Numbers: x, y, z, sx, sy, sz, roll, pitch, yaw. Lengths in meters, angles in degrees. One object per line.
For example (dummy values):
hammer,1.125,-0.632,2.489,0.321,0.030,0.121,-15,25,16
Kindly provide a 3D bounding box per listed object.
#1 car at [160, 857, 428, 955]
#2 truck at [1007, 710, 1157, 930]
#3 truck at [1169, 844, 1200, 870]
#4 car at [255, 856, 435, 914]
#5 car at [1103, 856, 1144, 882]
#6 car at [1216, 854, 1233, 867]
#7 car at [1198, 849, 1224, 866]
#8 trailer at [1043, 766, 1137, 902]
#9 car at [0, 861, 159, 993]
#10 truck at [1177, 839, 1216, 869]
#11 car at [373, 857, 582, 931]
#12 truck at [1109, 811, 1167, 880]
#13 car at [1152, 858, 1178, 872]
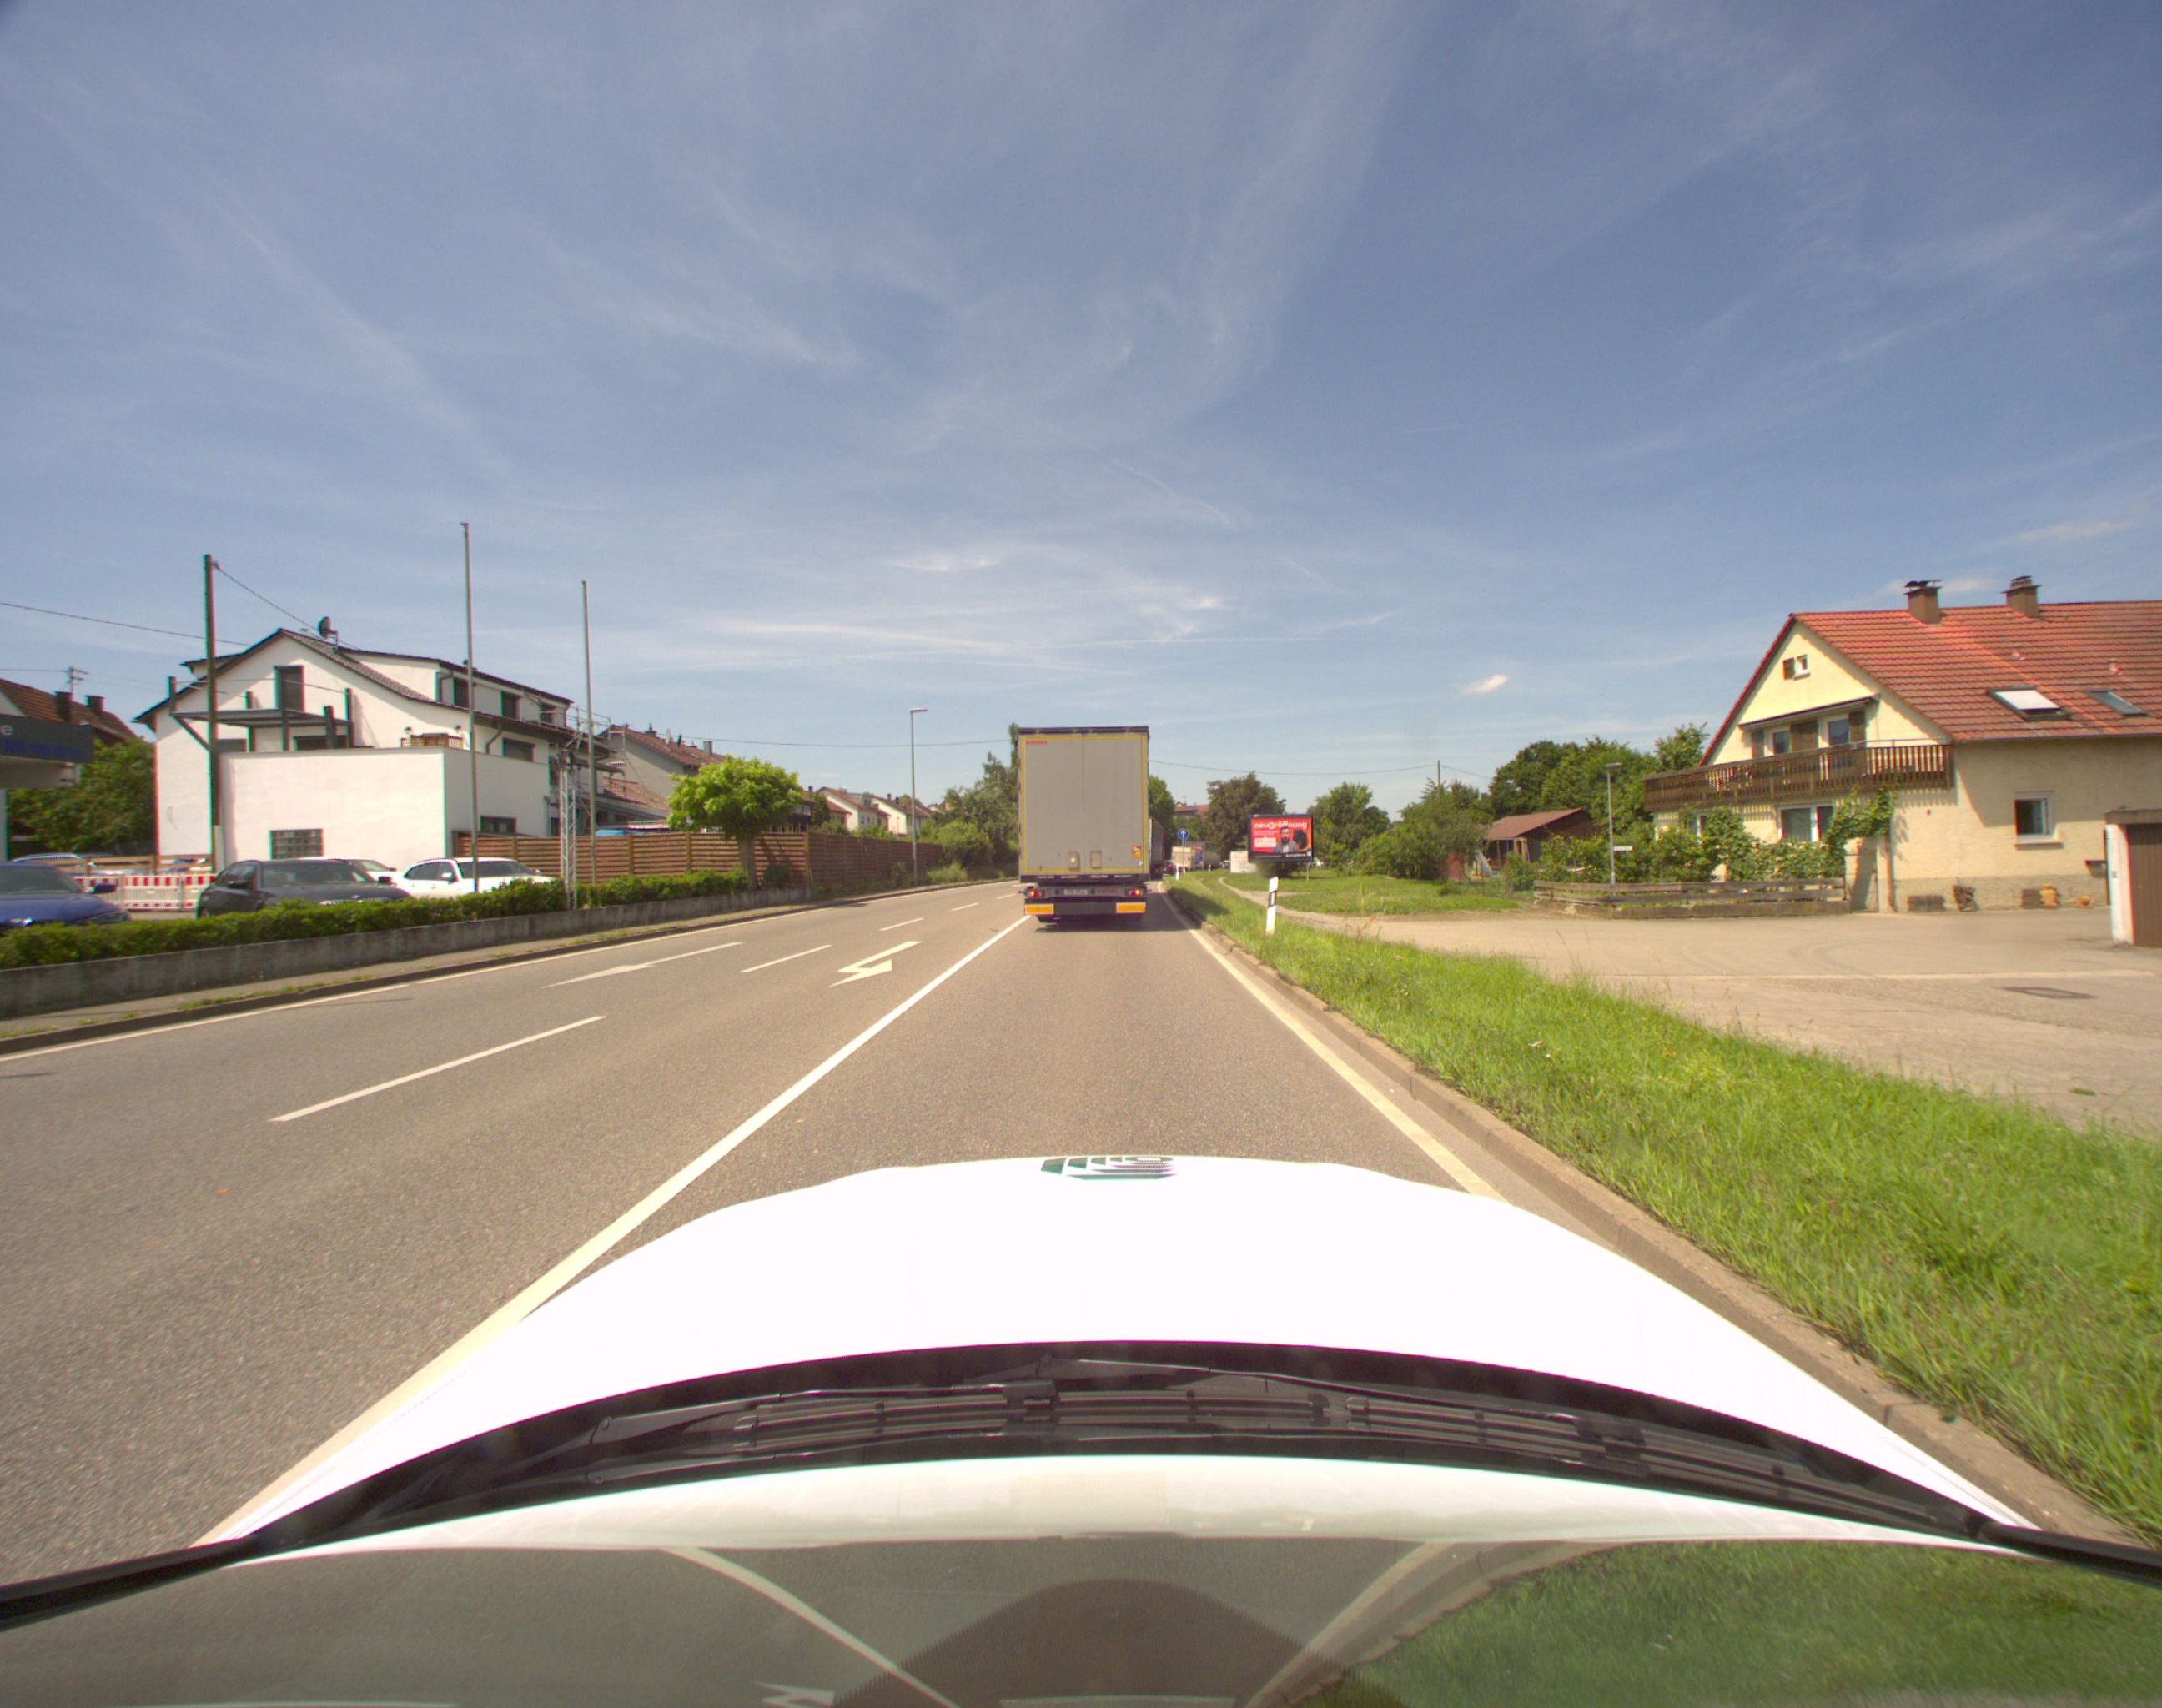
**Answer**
car,-13.363,0.795,13.818,4.288,1.447,1.910,0,-1,26
truck,0.175,-0.628,21.077,2.812,4.128,11.447,0,0,2
truck,11.637,0.362,91.384,2.524,2.803,6.058,0,-1,17
car,-20.539,0.820,22.768,3.958,1.510,1.842,0,0,15
car,2.382,0.826,44.669,1.807,1.346,3.858,0,-1,10
car,21.905,1.019,124.258,1.978,2.014,4.018,0,-1,18
car,17.953,0.492,112.319,2.511,2.277,6.410,0,0,18
trailer,0.423,-0.617,28.038,2.814,4.111,6.548,-1,0,3
car,-13.729,0.815,10.081,4.289,1.447,1.867,0,-1,25
truck,14.722,-0.031,103.137,3.406,3.604,9.396,0,0,17
car,-13.082,0.809,17.640,4.288,1.447,1.868,0,-1,26
truck,4.433,-0.413,59.291,2.744,4.289,16.456,0,-1,9
car,8.235,1.063,79.342,1.979,1.376,4.015,0,-1,14
